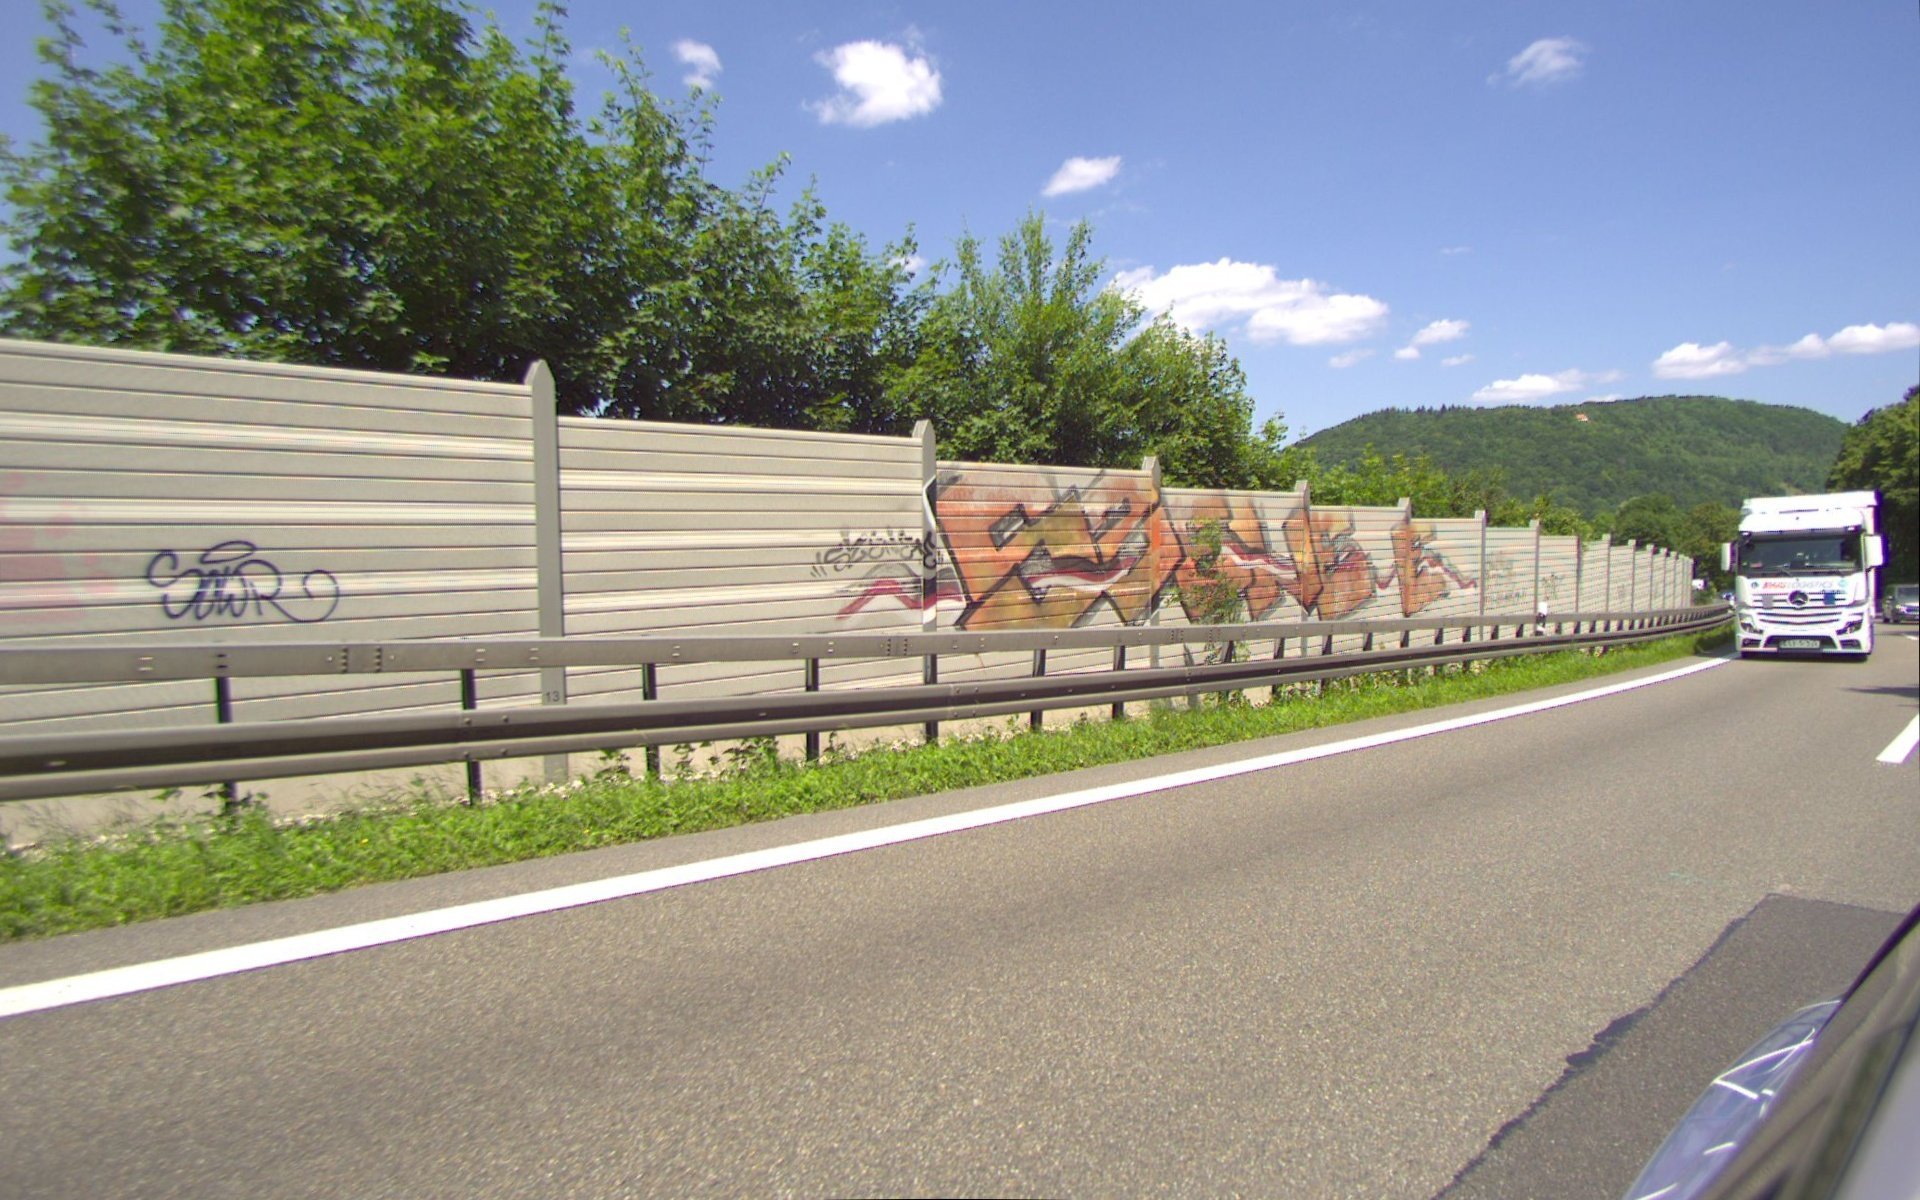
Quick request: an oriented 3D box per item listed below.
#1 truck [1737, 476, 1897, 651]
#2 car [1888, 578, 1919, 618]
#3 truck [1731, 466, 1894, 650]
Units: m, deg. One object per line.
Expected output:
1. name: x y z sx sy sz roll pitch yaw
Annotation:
1. truck: 25.270 -0.962 29.522 2.854 4.200 11.857 0 1 44
2. car: 46.748 -0.075 49.193 2.034 1.889 3.946 1 1 37
3. truck: 21.915 -0.960 25.877 2.758 4.089 6.715 1 1 44
